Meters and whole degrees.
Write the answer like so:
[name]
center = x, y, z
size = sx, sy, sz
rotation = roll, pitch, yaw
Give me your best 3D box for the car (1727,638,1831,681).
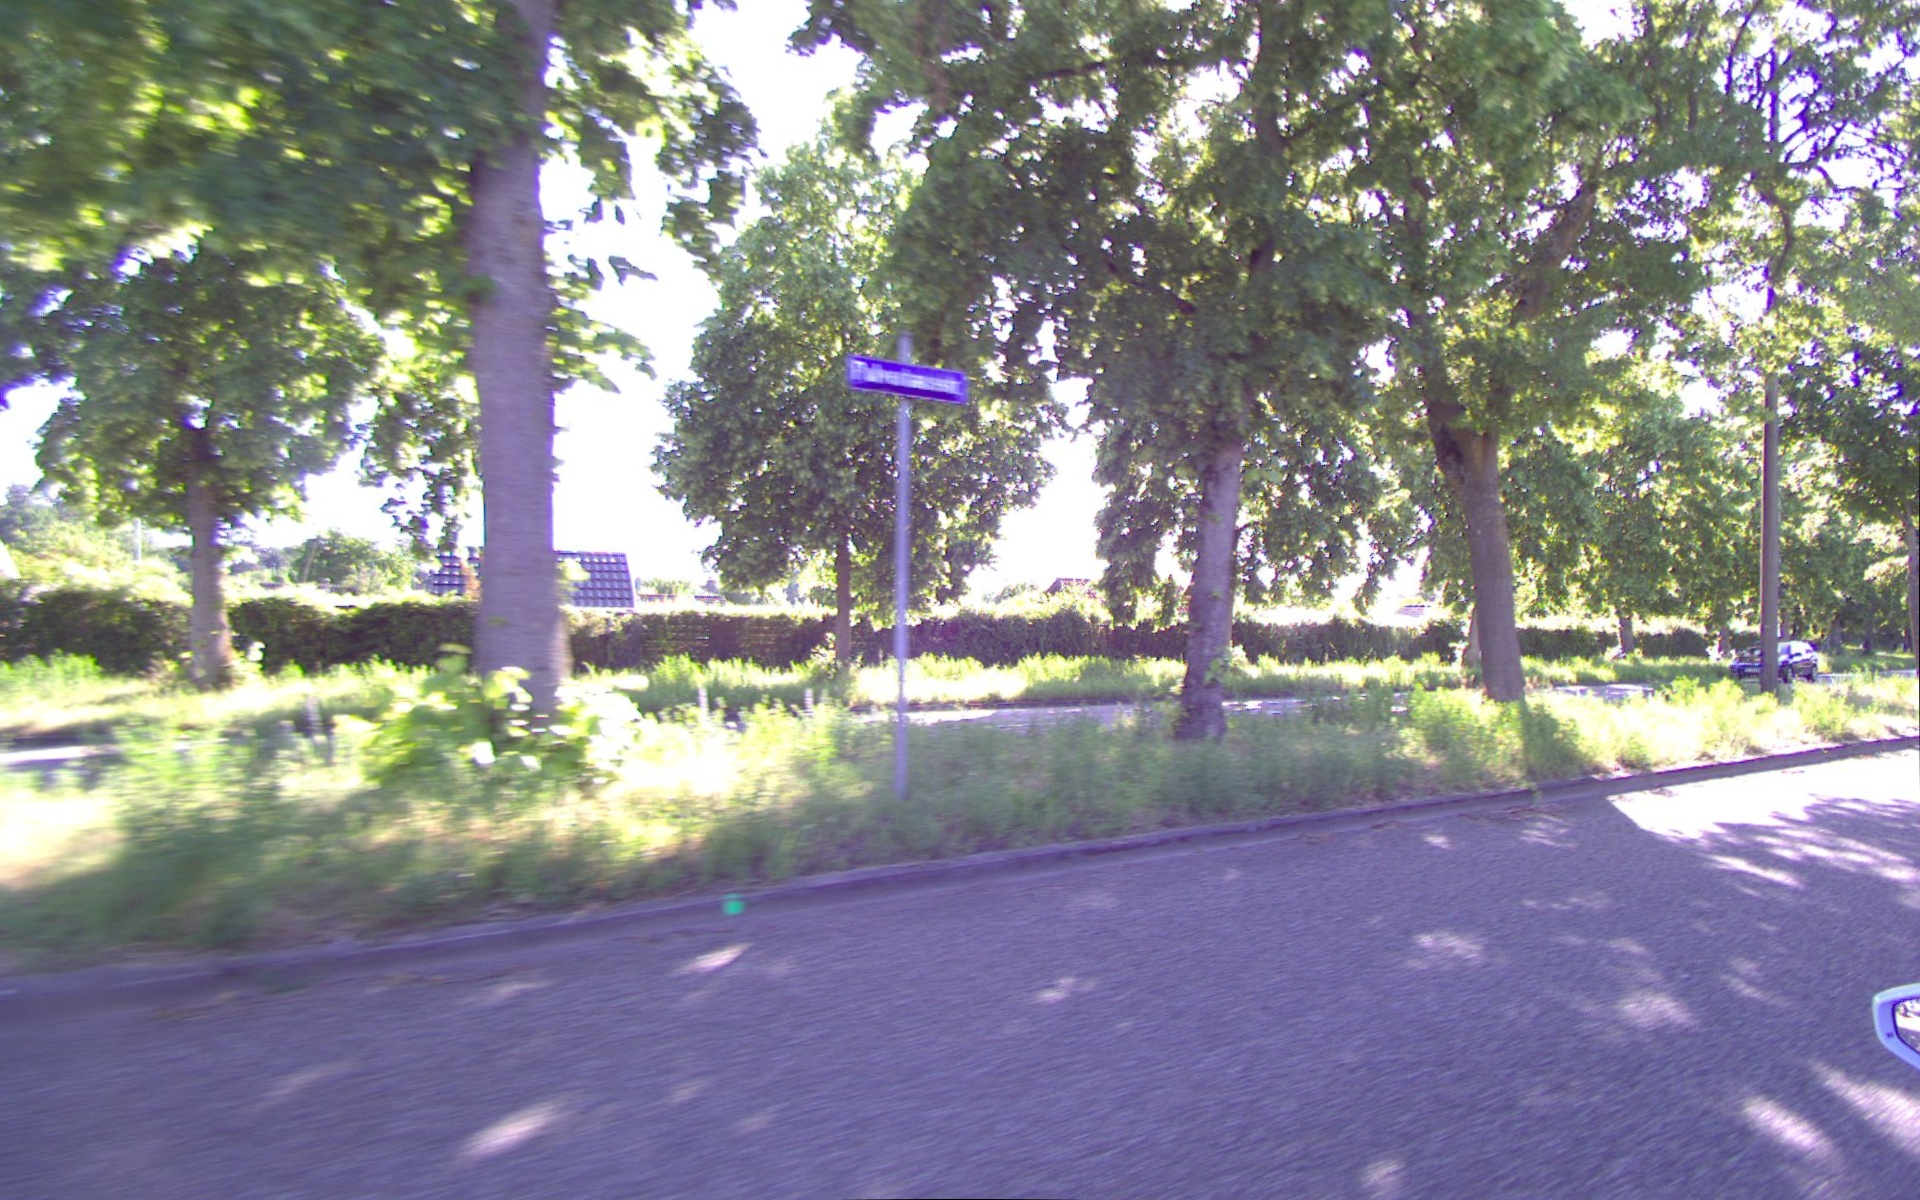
[car]
center = 29.708, 2.141, 36.383
size = 4.892, 1.455, 1.682
rotation = 2, -3, -36
